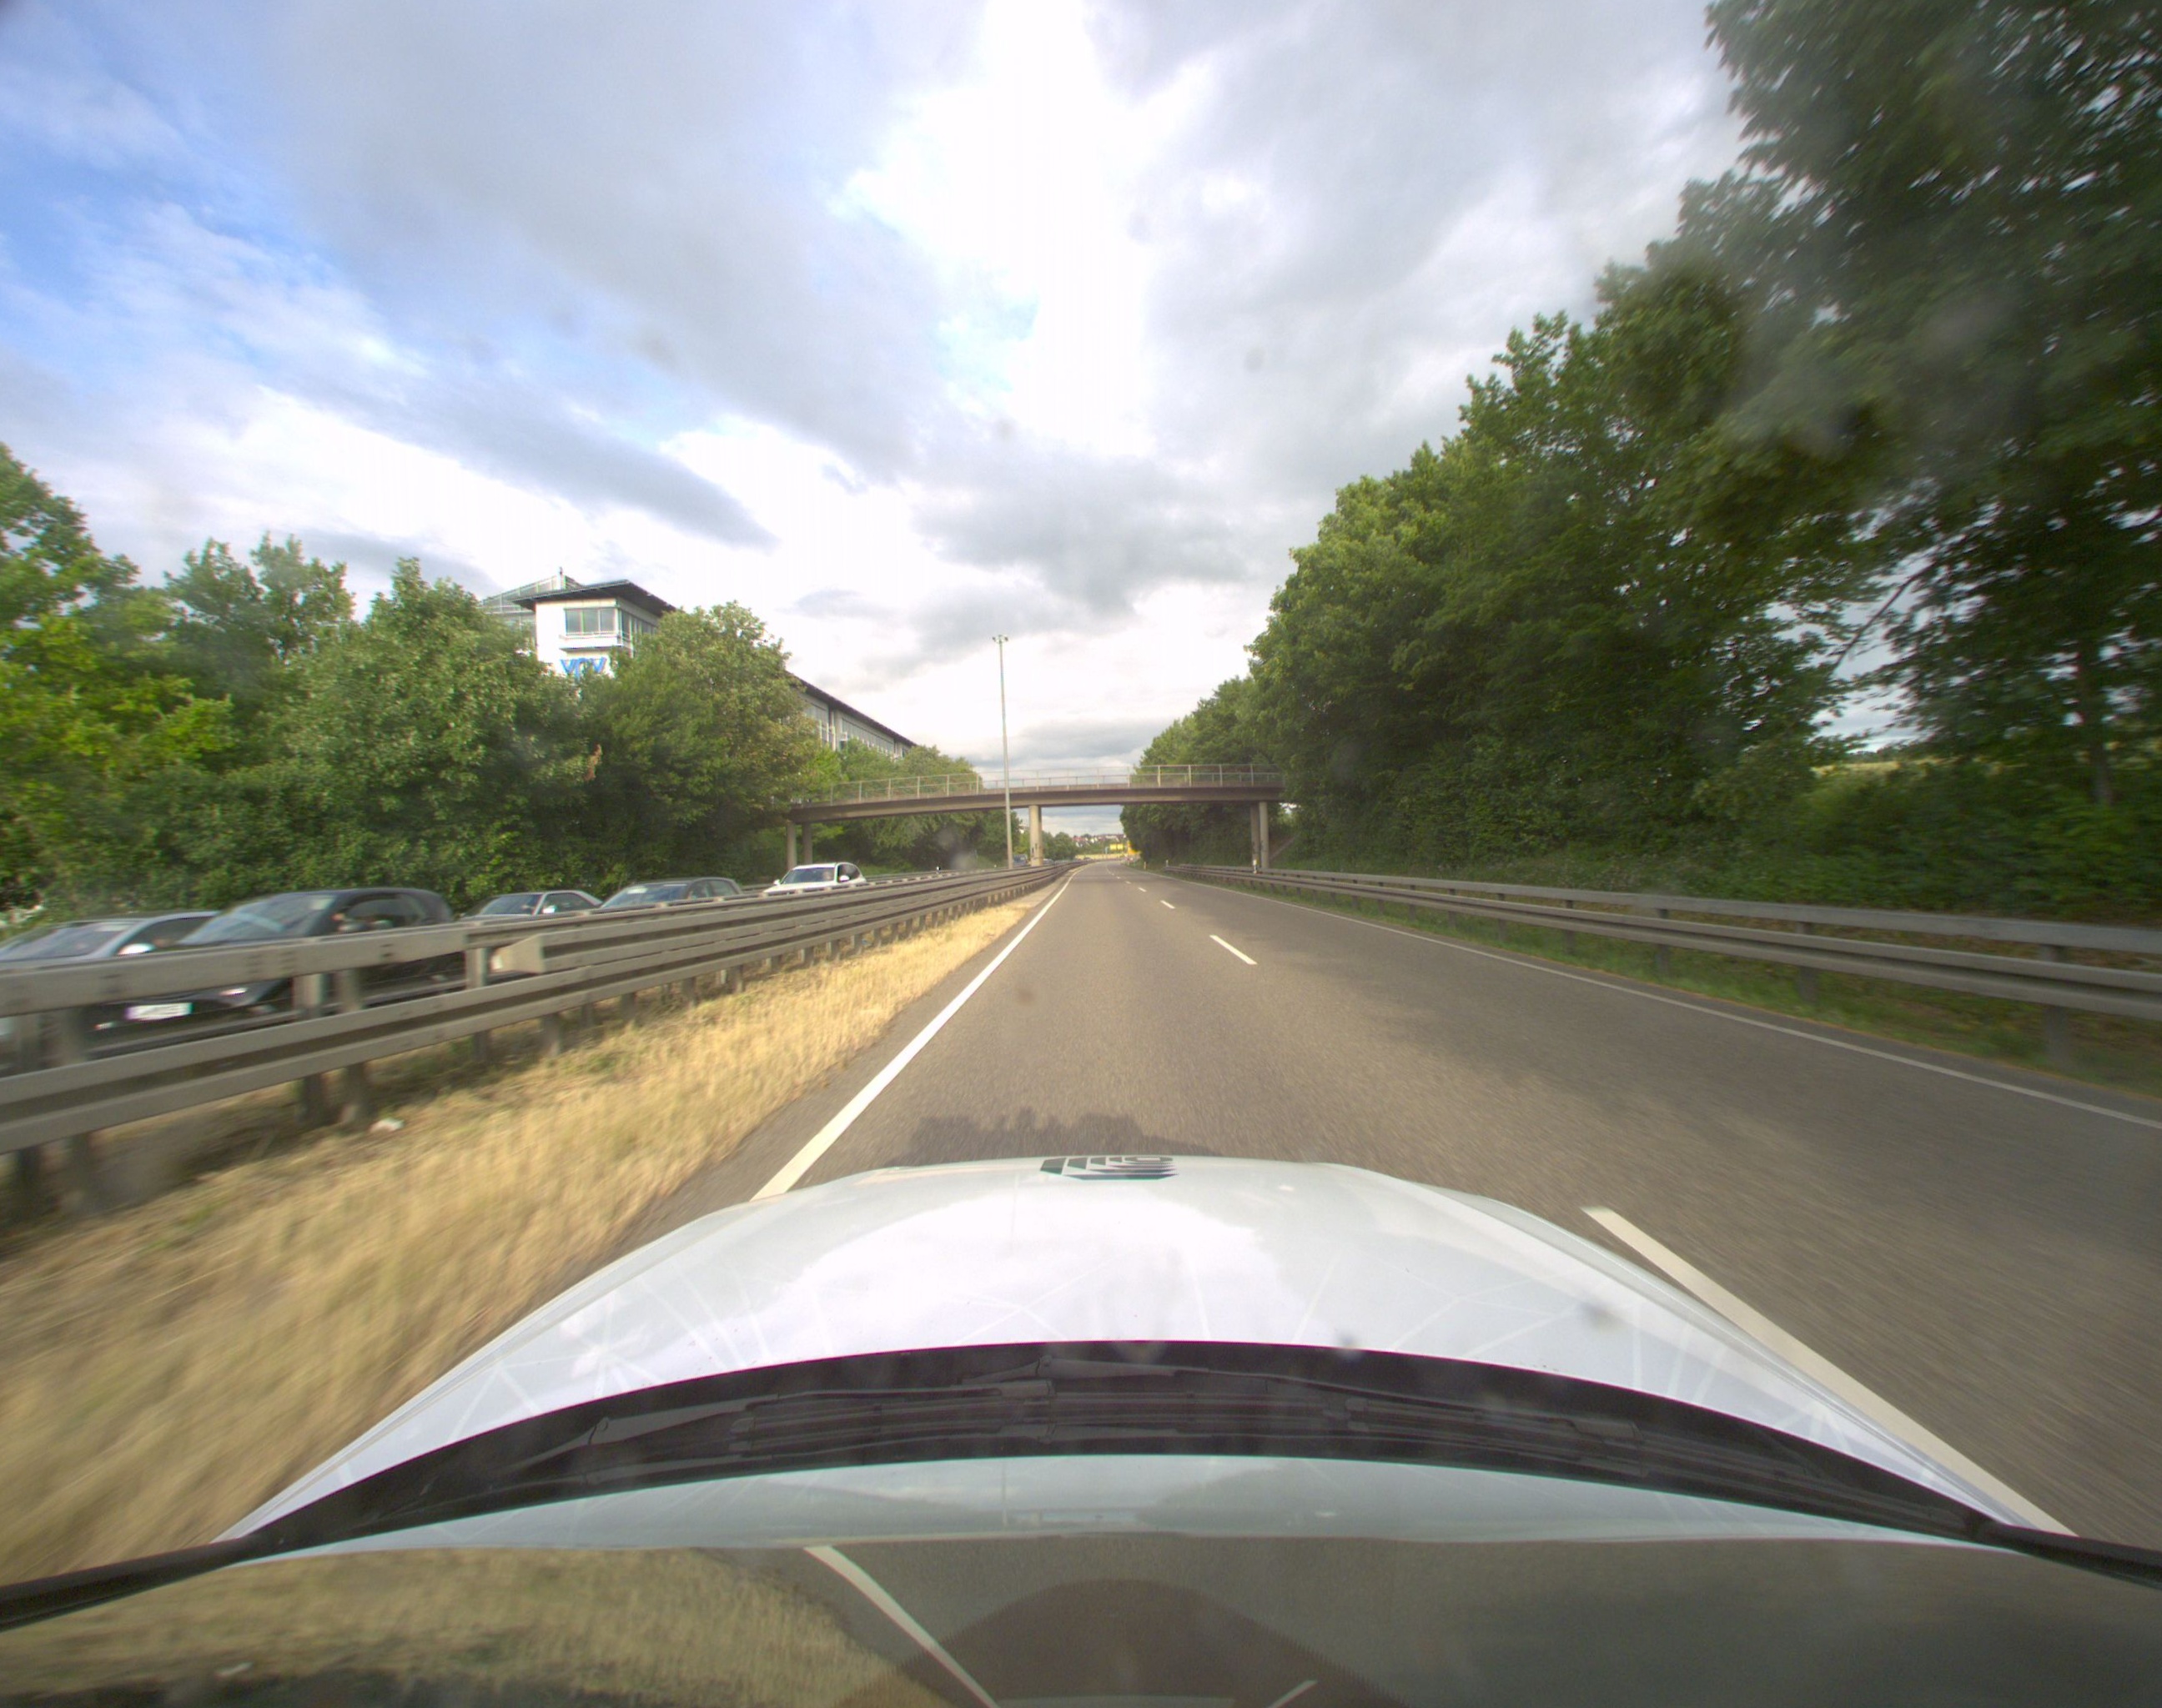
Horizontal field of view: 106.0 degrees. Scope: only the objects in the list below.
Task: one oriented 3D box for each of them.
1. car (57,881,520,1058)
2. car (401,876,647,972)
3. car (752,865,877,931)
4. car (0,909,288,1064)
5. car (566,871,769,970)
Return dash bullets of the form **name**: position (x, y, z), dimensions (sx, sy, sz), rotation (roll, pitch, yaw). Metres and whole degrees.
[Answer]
- **car**: position (-8.127, 1.073, 8.857), dimensions (1.550, 1.360, 3.464), rotation (-1, 1, 1)
- **car**: position (-11.075, 1.310, 16.674), dimensions (1.827, 1.536, 4.399), rotation (-2, 0, 2)
- **car**: position (-7.406, 1.153, 23.193), dimensions (1.816, 1.584, 4.792), rotation (-2, 0, 1)
- **car**: position (-11.408, 1.436, 9.297), dimensions (1.425, 1.353, 3.309), rotation (-2, 0, 0)
- **car**: position (-7.374, 1.106, 14.972), dimensions (1.712, 1.467, 3.735), rotation (-2, 0, 1)
